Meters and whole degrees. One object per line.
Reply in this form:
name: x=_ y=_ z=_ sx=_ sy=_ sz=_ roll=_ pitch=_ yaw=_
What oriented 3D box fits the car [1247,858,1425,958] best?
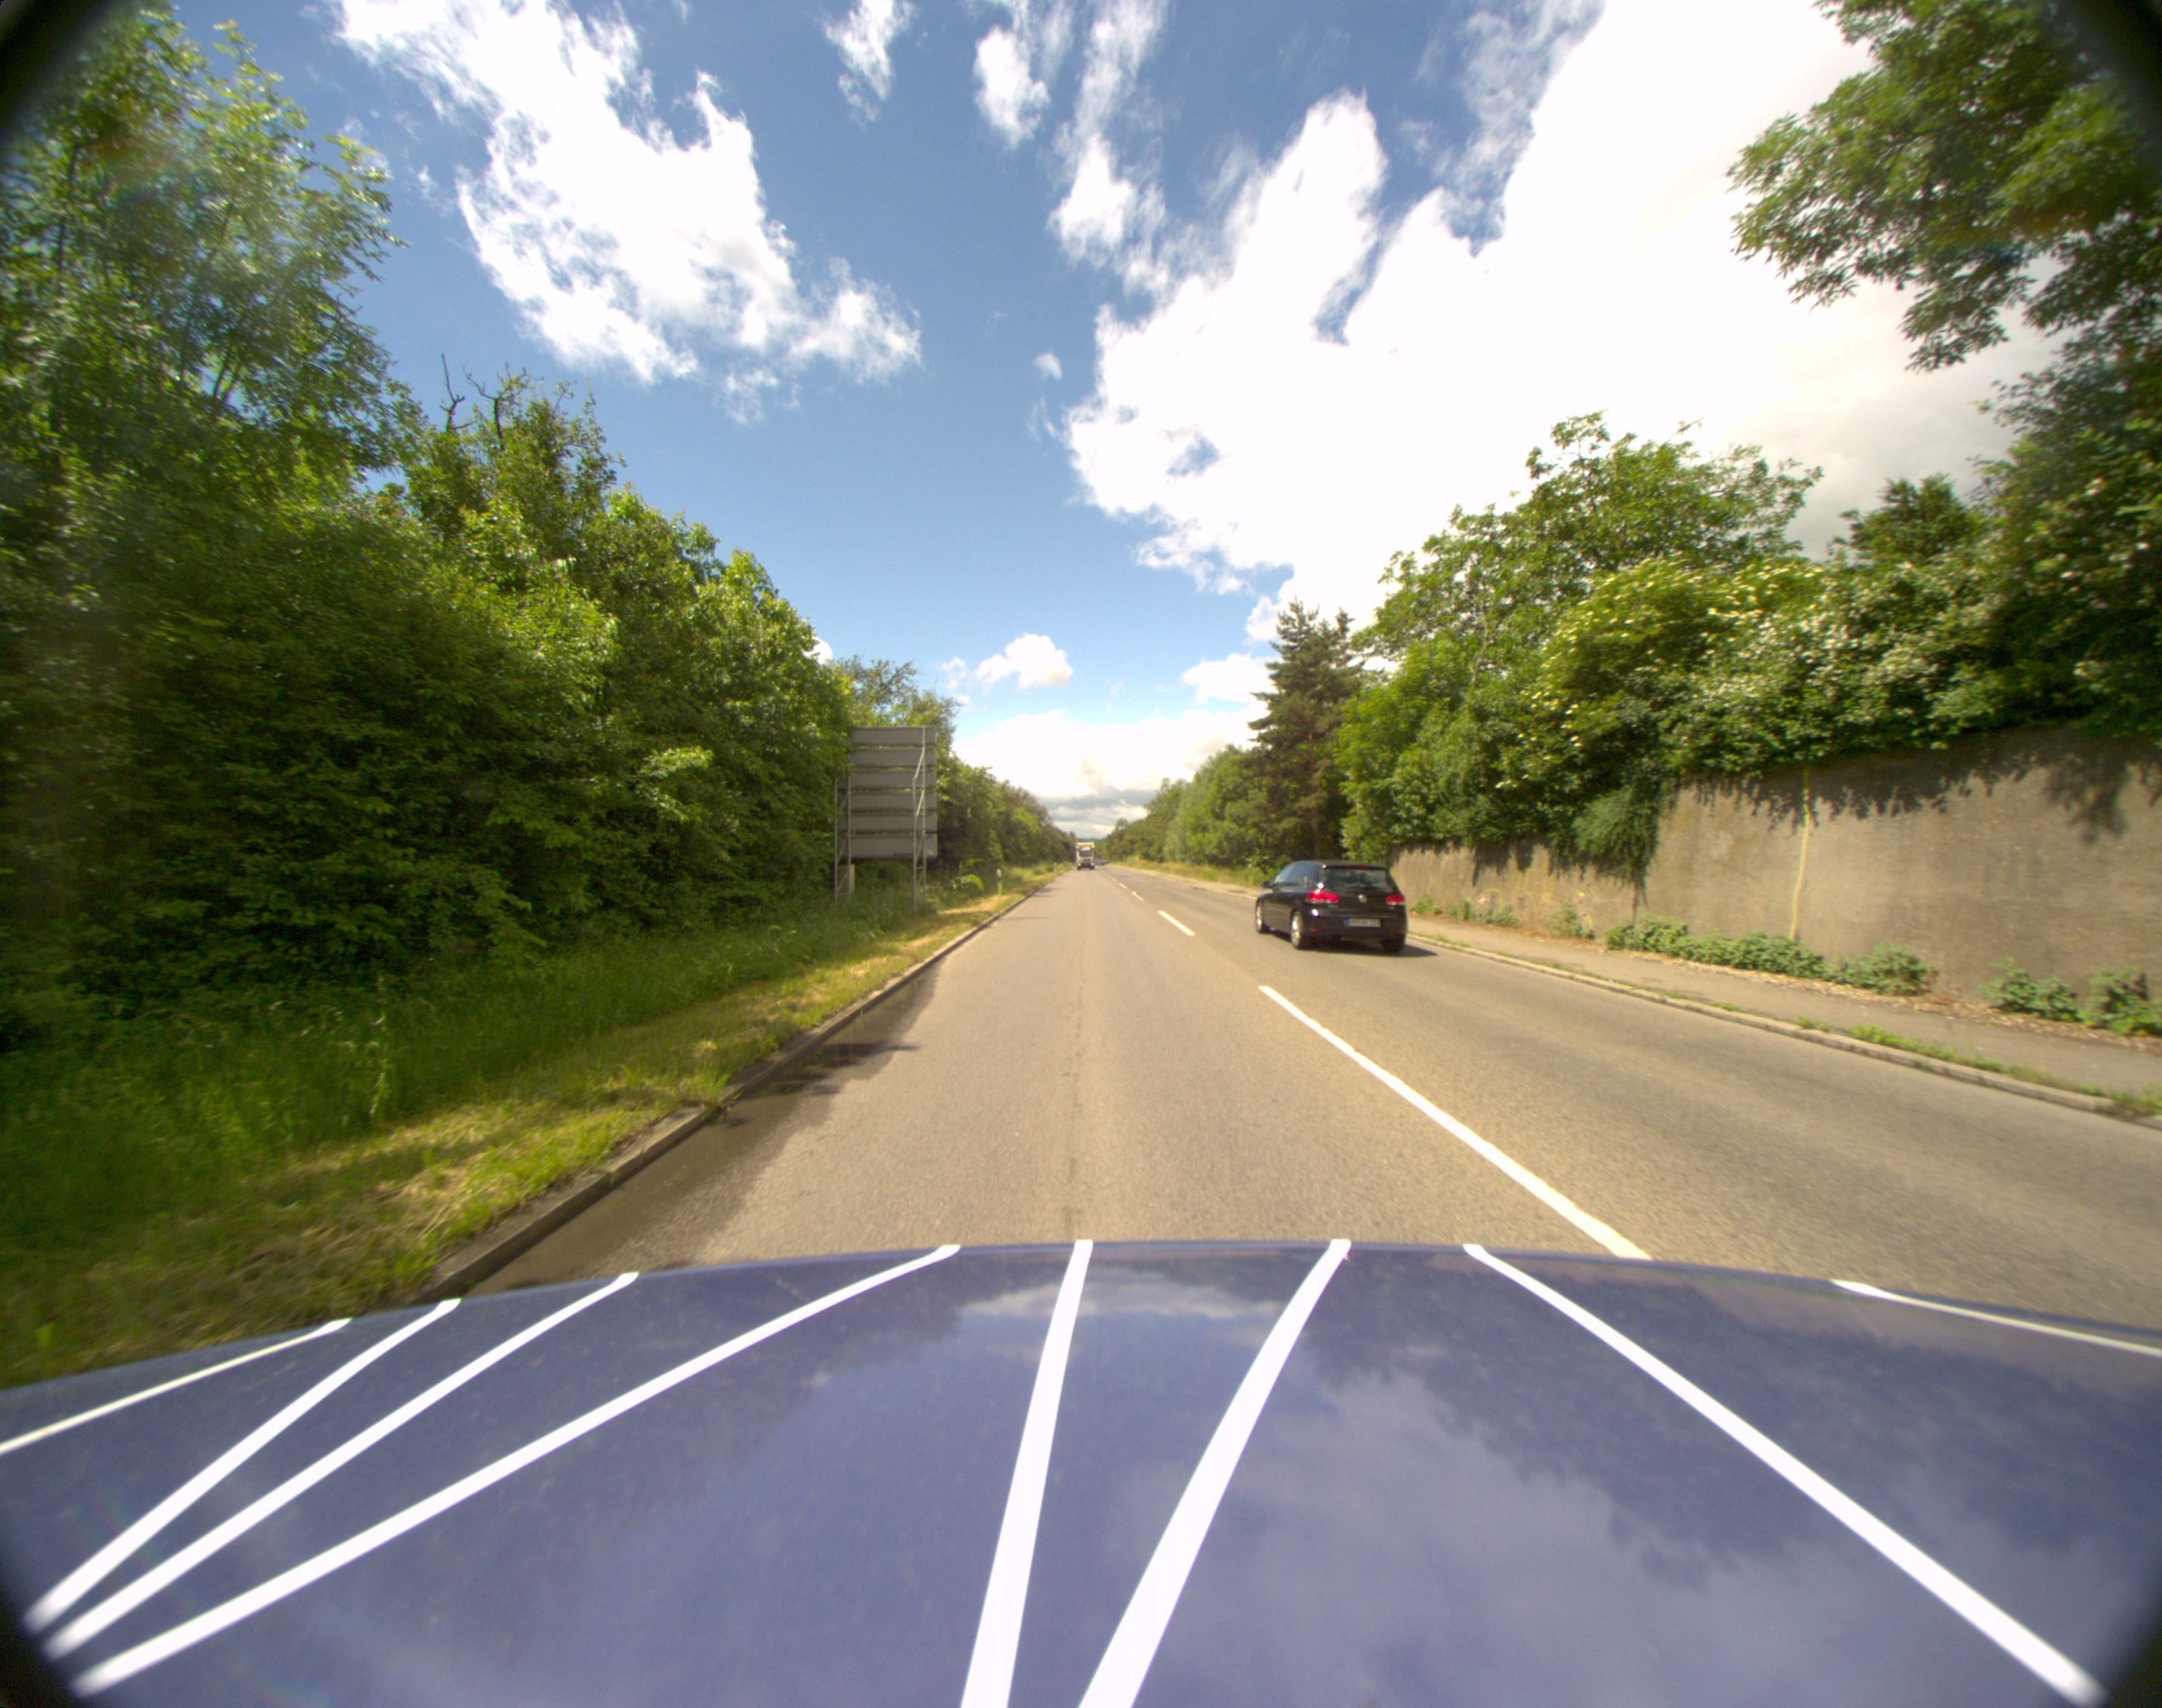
car: x=4.236 y=0.817 z=13.319 sx=1.756 sy=1.455 sz=4.000 roll=0 pitch=0 yaw=0

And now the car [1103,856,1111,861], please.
car: x=6.955 y=1.135 z=202.086 sx=1.789 sy=1.326 sz=4.622 roll=2 pitch=-1 yaw=-1

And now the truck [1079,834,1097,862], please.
truck: x=0.960 y=-0.785 z=108.455 sx=2.306 sy=3.789 sz=8.183 roll=-2 pitch=0 yaw=0
